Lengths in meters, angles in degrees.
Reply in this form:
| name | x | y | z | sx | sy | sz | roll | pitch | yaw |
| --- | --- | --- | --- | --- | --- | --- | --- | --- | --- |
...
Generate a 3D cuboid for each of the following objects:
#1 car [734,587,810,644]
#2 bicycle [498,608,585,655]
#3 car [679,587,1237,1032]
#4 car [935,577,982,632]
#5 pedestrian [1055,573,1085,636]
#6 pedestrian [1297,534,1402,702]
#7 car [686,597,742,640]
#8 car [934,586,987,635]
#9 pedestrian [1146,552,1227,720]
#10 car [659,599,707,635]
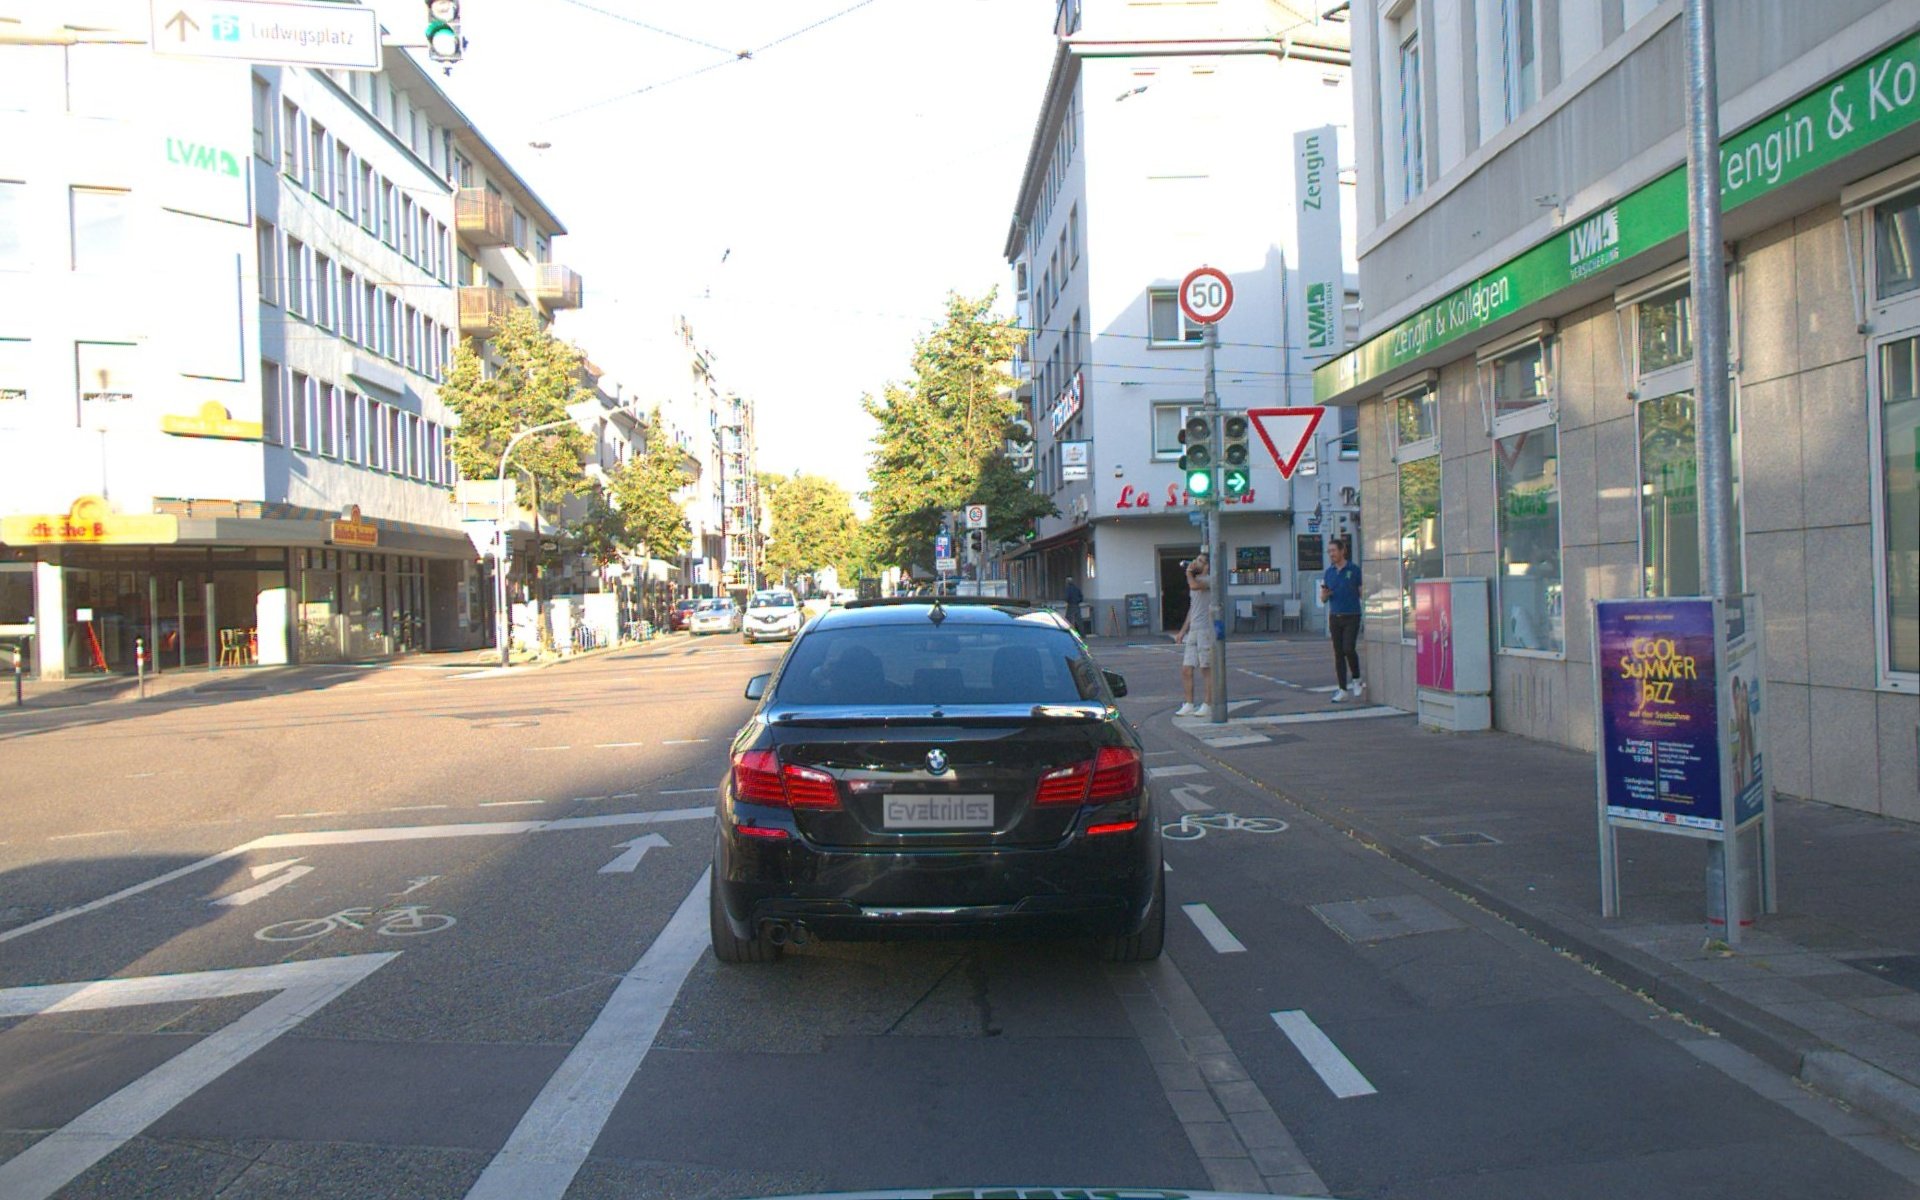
| name | x | y | z | sx | sy | sz | roll | pitch | yaw |
| --- | --- | --- | --- | --- | --- | --- | --- | --- | --- |
| car | -5.698 | 0.472 | 50.565 | 2.066 | 1.583 | 4.009 | -3 | 0 | -4 |
| bicycle | -11.784 | 0.883 | 46.629 | 2.322 | 1.275 | 0.639 | 0 | -1 | -7 |
| car | -0.042 | 0.720 | 7.935 | 1.914 | 1.524 | 4.464 | 0 | 0 | -1 |
| car | -0.044 | 0.137 | 60.597 | 1.606 | 1.906 | 3.607 | 1 | 1 | 0 |
| pedestrian | 3.011 | 0.122 | 45.189 | 0.697 | 1.705 | 0.703 | -2 | 0 | -3 |
| pedestrian | 4.486 | 0.196 | 19.041 | 0.867 | 1.859 | 0.687 | -3 | 0 | -27 |
| car | -9.723 | 0.729 | 65.631 | 1.798 | 1.583 | 3.777 | -3 | 0 | -4 |
| car | 0.031 | 0.319 | 53.902 | 1.606 | 1.469 | 3.607 | -2 | 0 | 0 |
| pedestrian | 2.464 | 0.385 | 18.044 | 0.640 | 1.773 | 0.692 | -2 | 0 | -11 |
| car | -13.030 | 0.796 | 77.919 | 1.798 | 1.583 | 3.777 | -3 | 0 | -4 |
